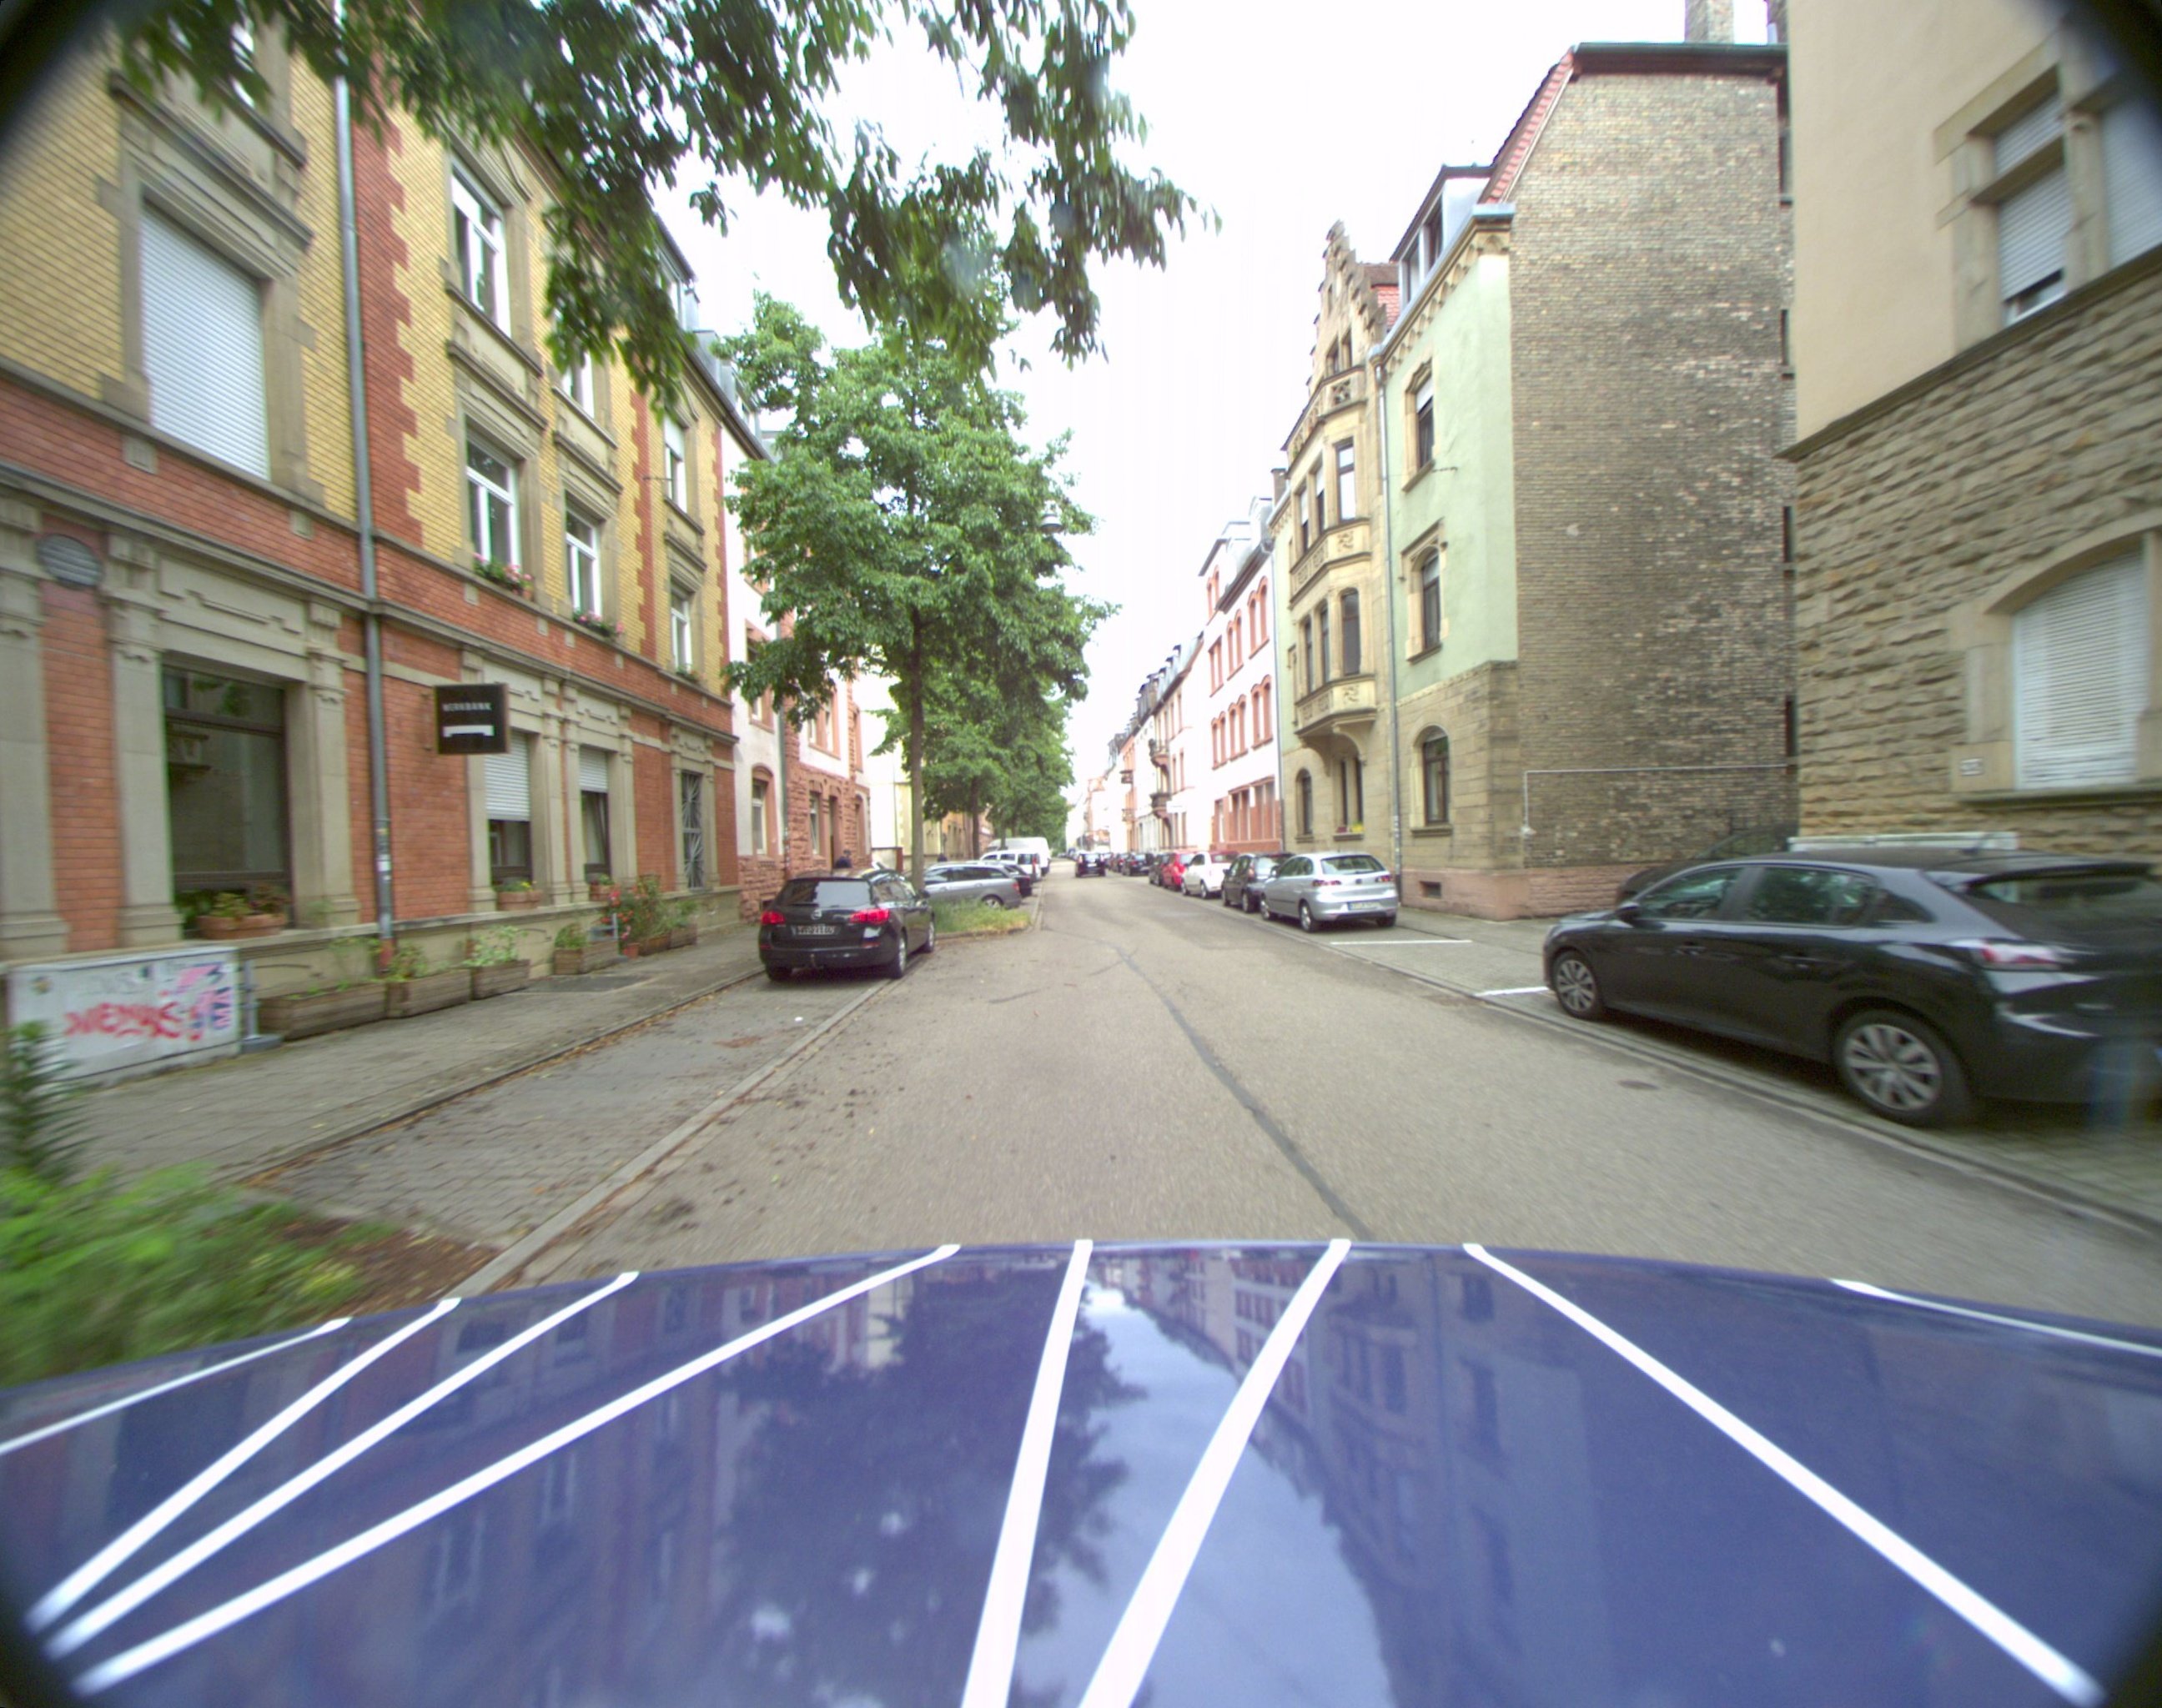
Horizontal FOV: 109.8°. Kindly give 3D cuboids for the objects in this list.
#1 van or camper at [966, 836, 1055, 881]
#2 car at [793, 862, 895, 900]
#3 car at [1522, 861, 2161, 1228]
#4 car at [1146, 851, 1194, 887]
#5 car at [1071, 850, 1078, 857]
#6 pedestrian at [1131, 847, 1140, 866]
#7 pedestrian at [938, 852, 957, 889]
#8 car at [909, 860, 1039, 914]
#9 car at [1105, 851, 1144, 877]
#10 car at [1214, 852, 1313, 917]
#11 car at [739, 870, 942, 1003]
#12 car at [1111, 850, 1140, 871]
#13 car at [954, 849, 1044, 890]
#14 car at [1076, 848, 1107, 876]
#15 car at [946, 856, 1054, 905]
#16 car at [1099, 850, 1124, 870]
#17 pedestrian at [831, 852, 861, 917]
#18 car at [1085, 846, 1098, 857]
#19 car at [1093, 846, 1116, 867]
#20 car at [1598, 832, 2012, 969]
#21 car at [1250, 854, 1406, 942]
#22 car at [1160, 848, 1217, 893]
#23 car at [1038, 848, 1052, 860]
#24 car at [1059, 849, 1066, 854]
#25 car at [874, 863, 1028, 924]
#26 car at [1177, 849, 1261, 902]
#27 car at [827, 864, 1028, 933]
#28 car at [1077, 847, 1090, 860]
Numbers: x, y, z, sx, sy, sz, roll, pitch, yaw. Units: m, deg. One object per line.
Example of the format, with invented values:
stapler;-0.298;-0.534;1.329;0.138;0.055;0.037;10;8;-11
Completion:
van or camper;-4.375;0.231;47.419;5.077;2.576;2.069;-2;1;-32
car;-10.532;1.186;33.905;3.998;1.445;1.609;-2;1;-3
car;5.085;0.829;5.197;1.732;1.425;3.881;-4;0;-2
car;3.886;0.623;33.664;1.469;1.408;3.917;-4;0;-2
car;-1.457;-0.059;172.270;1.457;1.401;3.810;-4;0;-1
pedestrian;4.568;0.209;63.529;0.578;1.599;0.544;-3;1;-2
pedestrian;-6.597;0.818;37.582;0.703;1.801;0.817;-3;1;-1
car;-3.394;0.989;24.260;3.700;1.458;1.701;-2;1;-33
car;2.560;0.577;45.511;1.905;1.382;3.999;-3;0;-2
car;4.554;0.710;19.436;1.521;1.425;3.455;-4;0;-2
car;-3.310;1.049;11.434;1.769;1.477;4.478;0;0;-2
car;3.163;0.428;54.144;1.660;1.375;3.471;-4;1;-2
car;-3.964;0.745;37.053;3.994;1.801;1.721;-2;1;9
car;0.606;0.479;48.514;1.814;1.621;4.206;-2;1;-1
car;-2.955;0.936;27.773;3.472;1.554;1.783;-3;1;-24
car;2.385;0.427;60.153;1.610;1.463;3.341;-2;1;-3
pedestrian;-6.418;0.816;20.783;0.599;1.723;0.663;-2;1;-4
car;1.395;-0.309;99.827;1.457;1.401;3.810;-4;0;-1
car;2.116;0.196;69.069;1.844;1.849;3.999;-2;1;0
car;9.615;0.569;10.321;3.997;1.555;1.767;-2;1;-2
car;4.696;0.760;15.051;1.594;1.425;3.808;-4;0;-3
car;4.069;0.593;29.250;1.469;1.521;3.567;-4;0;-2
car;-5.612;-0.073;118.978;1.998;1.740;4.000;-3;0;0
car;-5.686;-0.861;237.686;1.458;1.401;3.807;-2;1;-11
car;-3.642;1.039;21.541;3.890;1.427;1.742;-2;1;-33
car;4.378;0.632;24.573;1.671;1.502;3.551;-3;0;-6
car;-3.630;0.975;18.358;4.453;1.419;1.754;0;1;-36
car;0.458;-0.107;133.952;2.052;2.071;3.810;-4;0;-1
